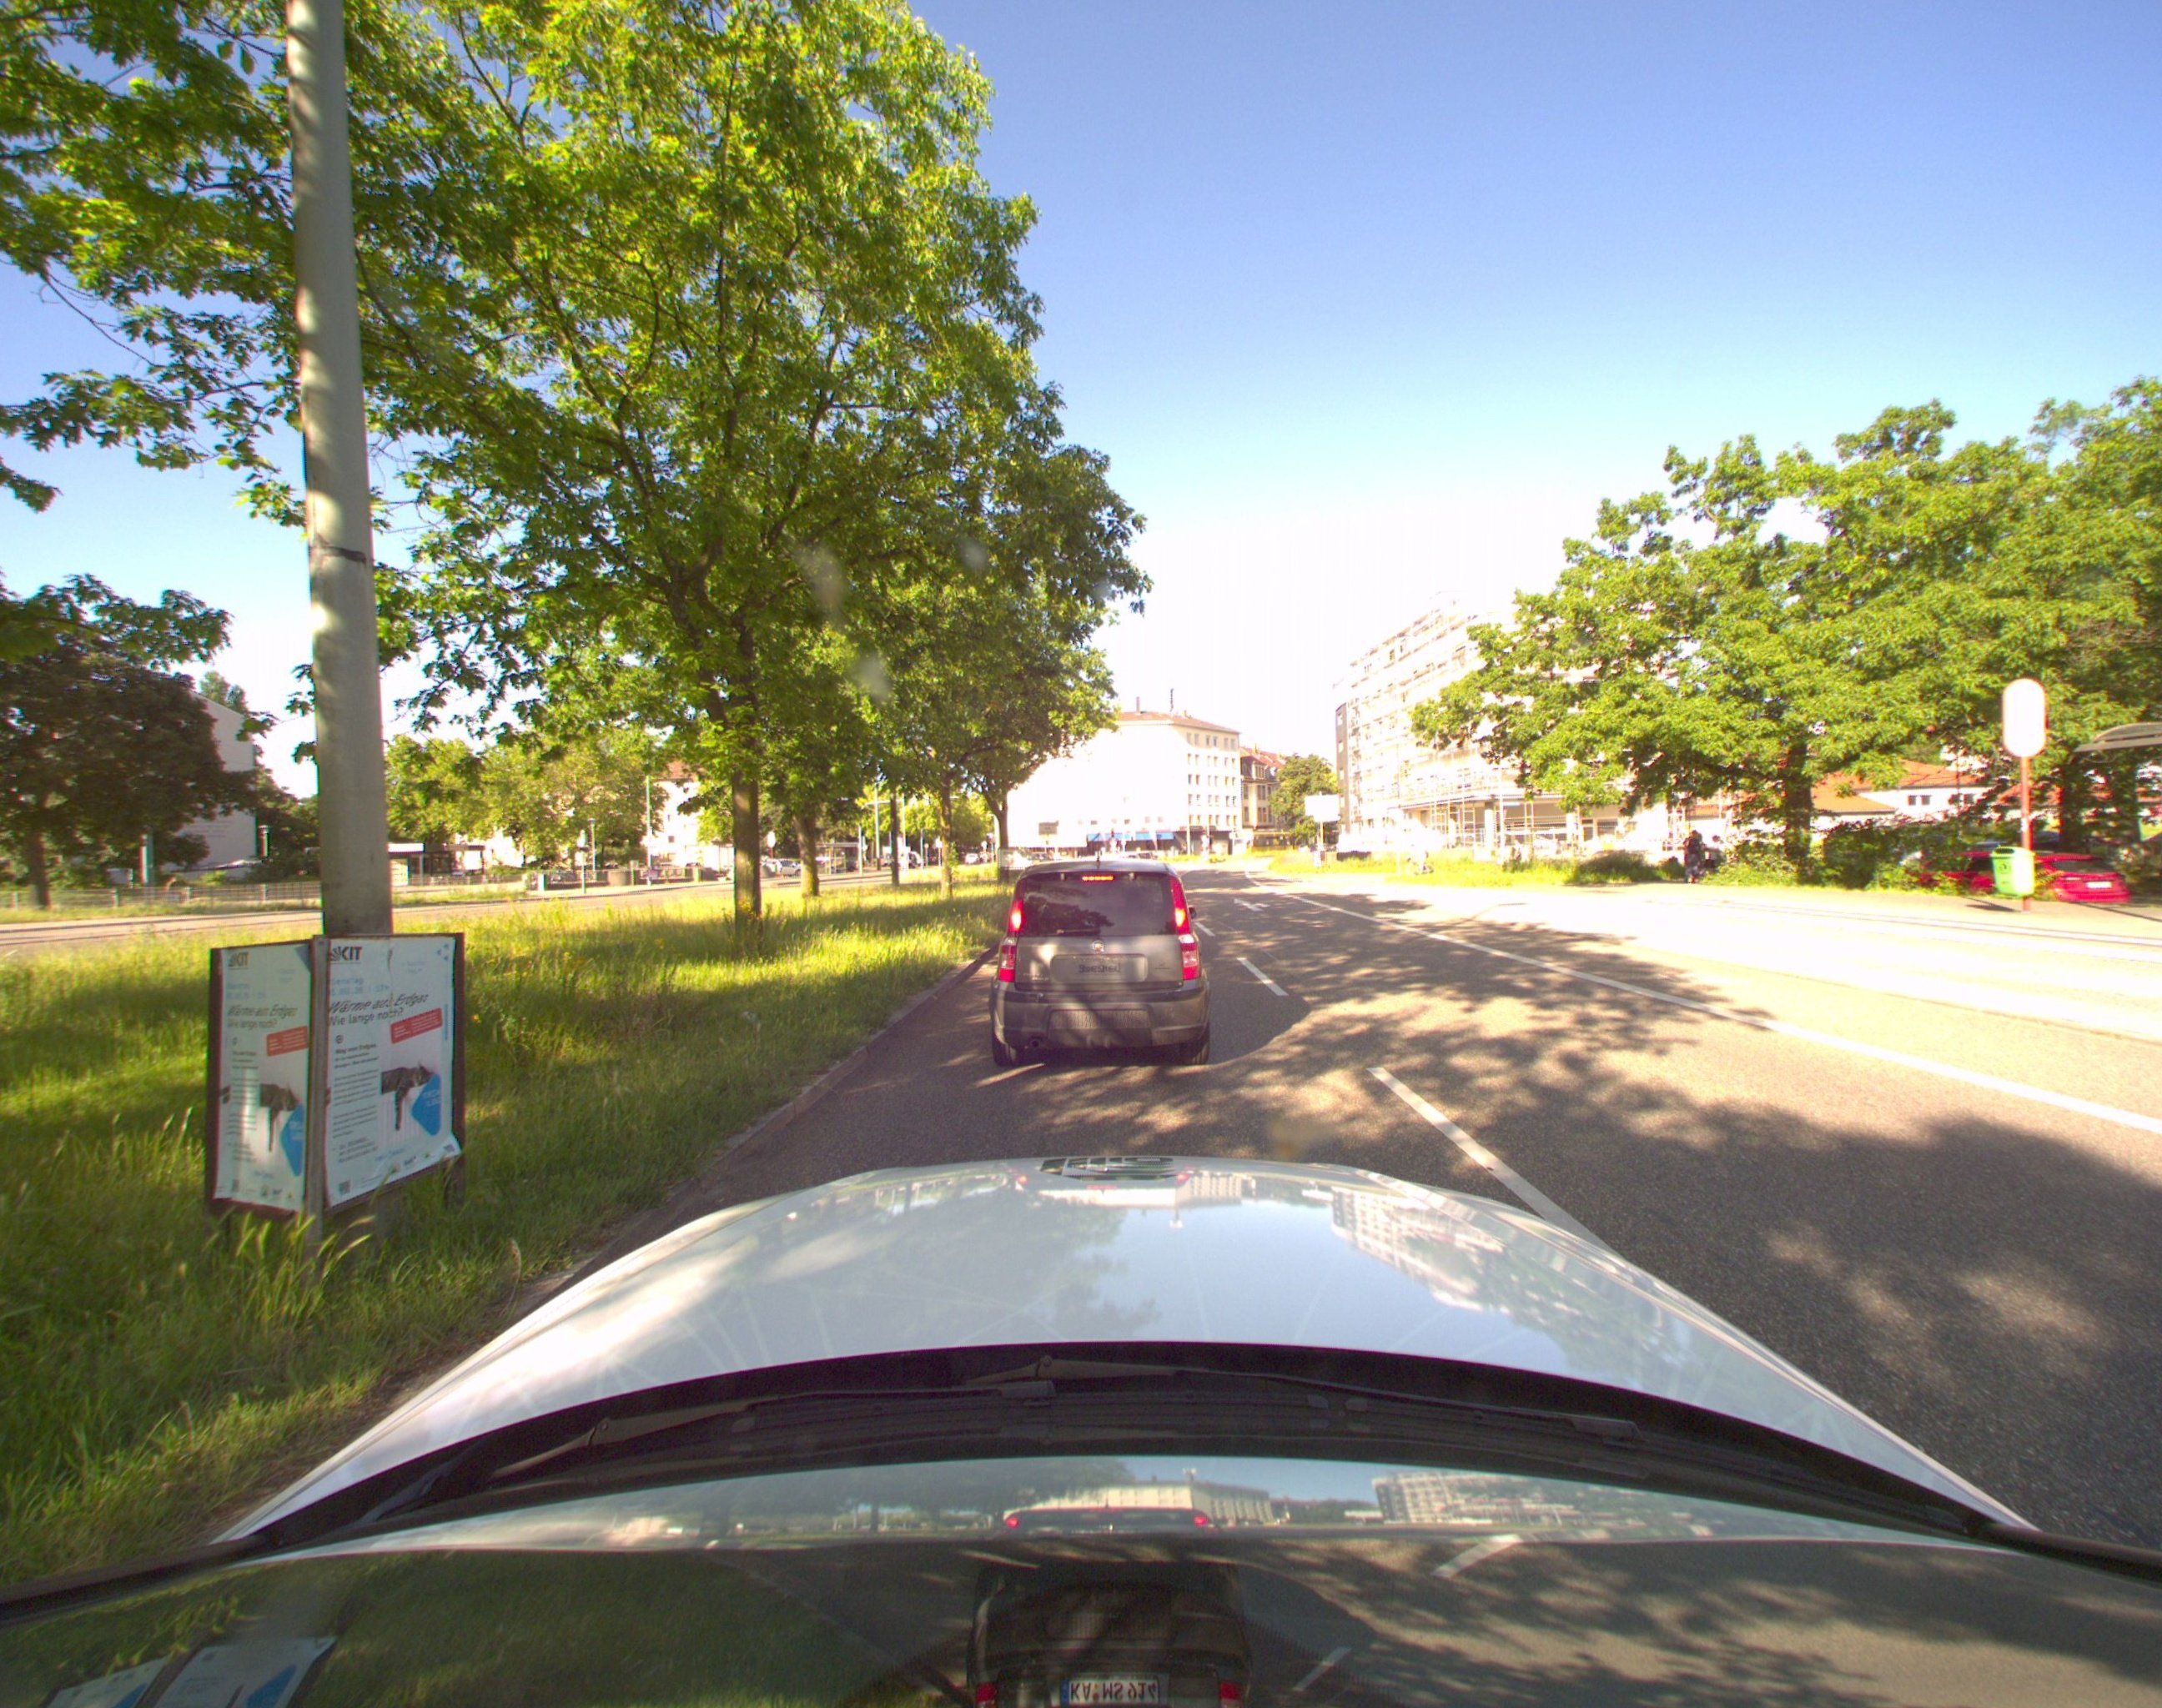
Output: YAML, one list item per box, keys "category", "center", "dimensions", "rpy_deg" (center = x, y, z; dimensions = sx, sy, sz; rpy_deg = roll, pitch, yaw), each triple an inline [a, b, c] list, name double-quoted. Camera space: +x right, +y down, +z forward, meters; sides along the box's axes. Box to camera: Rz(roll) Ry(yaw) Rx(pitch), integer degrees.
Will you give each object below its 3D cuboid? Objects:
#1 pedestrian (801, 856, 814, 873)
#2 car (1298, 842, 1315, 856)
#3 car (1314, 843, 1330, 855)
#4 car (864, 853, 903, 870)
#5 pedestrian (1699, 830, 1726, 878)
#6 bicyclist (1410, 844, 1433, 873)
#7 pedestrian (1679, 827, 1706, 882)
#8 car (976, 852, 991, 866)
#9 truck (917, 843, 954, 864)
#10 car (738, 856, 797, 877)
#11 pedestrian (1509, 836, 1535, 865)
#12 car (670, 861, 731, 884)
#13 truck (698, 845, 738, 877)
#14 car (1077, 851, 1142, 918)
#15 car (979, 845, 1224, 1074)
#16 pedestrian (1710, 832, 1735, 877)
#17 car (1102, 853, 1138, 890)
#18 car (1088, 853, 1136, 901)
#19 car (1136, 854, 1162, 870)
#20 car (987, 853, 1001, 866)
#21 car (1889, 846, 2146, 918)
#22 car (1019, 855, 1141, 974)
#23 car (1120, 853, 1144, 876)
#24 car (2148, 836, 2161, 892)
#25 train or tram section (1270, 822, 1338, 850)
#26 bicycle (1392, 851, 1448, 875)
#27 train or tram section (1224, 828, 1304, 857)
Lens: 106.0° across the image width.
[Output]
- category: "pedestrian"
  center: [-26.340, 1.033, 78.475]
  dimensions: [0.910, 1.607, 0.802]
  rpy_deg: [-2, 0, 41]
- category: "car"
  center: [24.911, -0.535, 89.993]
  dimensions: [1.669, 1.449, 3.588]
  rpy_deg: [-2, 0, 18]
- category: "car"
  center: [27.622, -0.586, 93.423]
  dimensions: [1.514, 1.314, 3.304]
  rpy_deg: [-2, 0, 20]
- category: "car"
  center: [-23.949, 0.897, 98.918]
  dimensions: [4.164, 2.013, 1.931]
  rpy_deg: [-2, 0, -1]
- category: "pedestrian"
  center: [19.179, -0.005, 24.729]
  dimensions: [0.516, 1.447, 0.595]
  rpy_deg: [-2, 0, 28]
- category: "bicyclist"
  center: [17.135, 0.214, 41.024]
  dimensions: [0.839, 1.438, 0.744]
  rpy_deg: [0, -1, 3]
- category: "pedestrian"
  center: [18.519, 0.013, 24.675]
  dimensions: [0.516, 1.612, 0.595]
  rpy_deg: [-2, 0, 28]
- category: "car"
  center: [-14.845, 0.737, 124.156]
  dimensions: [1.988, 2.013, 3.997]
  rpy_deg: [-2, 0, -2]
- category: "truck"
  center: [-23.012, -0.136, 128.566]
  dimensions: [5.425, 3.168, 2.358]
  rpy_deg: [-2, 0, 30]
- category: "car"
  center: [-27.322, 1.072, 71.062]
  dimensions: [1.974, 1.684, 4.348]
  rpy_deg: [-2, 0, 40]
- category: "pedestrian"
  center: [25.733, -0.188, 47.492]
  dimensions: [0.893, 1.653, 0.978]
  rpy_deg: [-2, 0, -28]
- category: "car"
  center: [-31.198, 1.506, 66.826]
  dimensions: [1.974, 1.684, 4.025]
  rpy_deg: [-2, 0, 40]
- category: "truck"
  center: [-33.079, 0.636, 74.199]
  dimensions: [2.012, 2.805, 3.951]
  rpy_deg: [-2, 0, -44]
- category: "car"
  center: [0.723, 0.698, 20.790]
  dimensions: [1.458, 1.508, 3.506]
  rpy_deg: [-2, 0, 2]
- category: "car"
  center: [0.203, 0.703, 7.531]
  dimensions: [1.622, 1.508, 4.002]
  rpy_deg: [-2, 0, 2]
- category: "pedestrian"
  center: [20.895, 0.014, 26.544]
  dimensions: [0.516, 1.447, 0.595]
  rpy_deg: [-2, 0, 28]
- category: "car"
  center: [1.599, 0.693, 33.963]
  dimensions: [1.351, 1.449, 3.267]
  rpy_deg: [-2, 0, 2]
- category: "car"
  center: [1.027, 0.727, 27.415]
  dimensions: [1.458, 1.424, 3.383]
  rpy_deg: [-2, 0, 2]
- category: "car"
  center: [4.862, 0.576, 57.712]
  dimensions: [1.133, 1.064, 2.735]
  rpy_deg: [-2, 0, 19]
- category: "car"
  center: [-14.266, 0.900, 133.866]
  dimensions: [1.988, 2.013, 3.997]
  rpy_deg: [-2, 0, -2]
- category: "car"
  center: [21.984, 0.597, 19.371]
  dimensions: [1.747, 1.486, 3.743]
  rpy_deg: [-2, 0, -2]
- category: "car"
  center: [0.046, 0.748, 11.722]
  dimensions: [1.458, 1.401, 3.395]
  rpy_deg: [-2, 0, 2]
- category: "car"
  center: [3.093, 0.621, 49.674]
  dimensions: [1.351, 1.281, 2.877]
  rpy_deg: [-2, 0, 2]
- category: "car"
  center: [29.859, 0.233, 20.175]
  dimensions: [1.911, 1.486, 3.725]
  rpy_deg: [-2, 0, -17]
- category: "train or tram section"
  center: [33.443, -2.715, 121.070]
  dimensions: [3.263, 3.770, 20.943]
  rpy_deg: [-2, 0, 34]
- category: "bicycle"
  center: [17.084, 0.459, 41.039]
  dimensions: [2.502, 1.198, 0.711]
  rpy_deg: [0, -1, 2]
- category: "train or tram section"
  center: [24.632, -1.617, 108.014]
  dimensions: [3.263, 3.513, 19.509]
  rpy_deg: [-2, 0, 34]
